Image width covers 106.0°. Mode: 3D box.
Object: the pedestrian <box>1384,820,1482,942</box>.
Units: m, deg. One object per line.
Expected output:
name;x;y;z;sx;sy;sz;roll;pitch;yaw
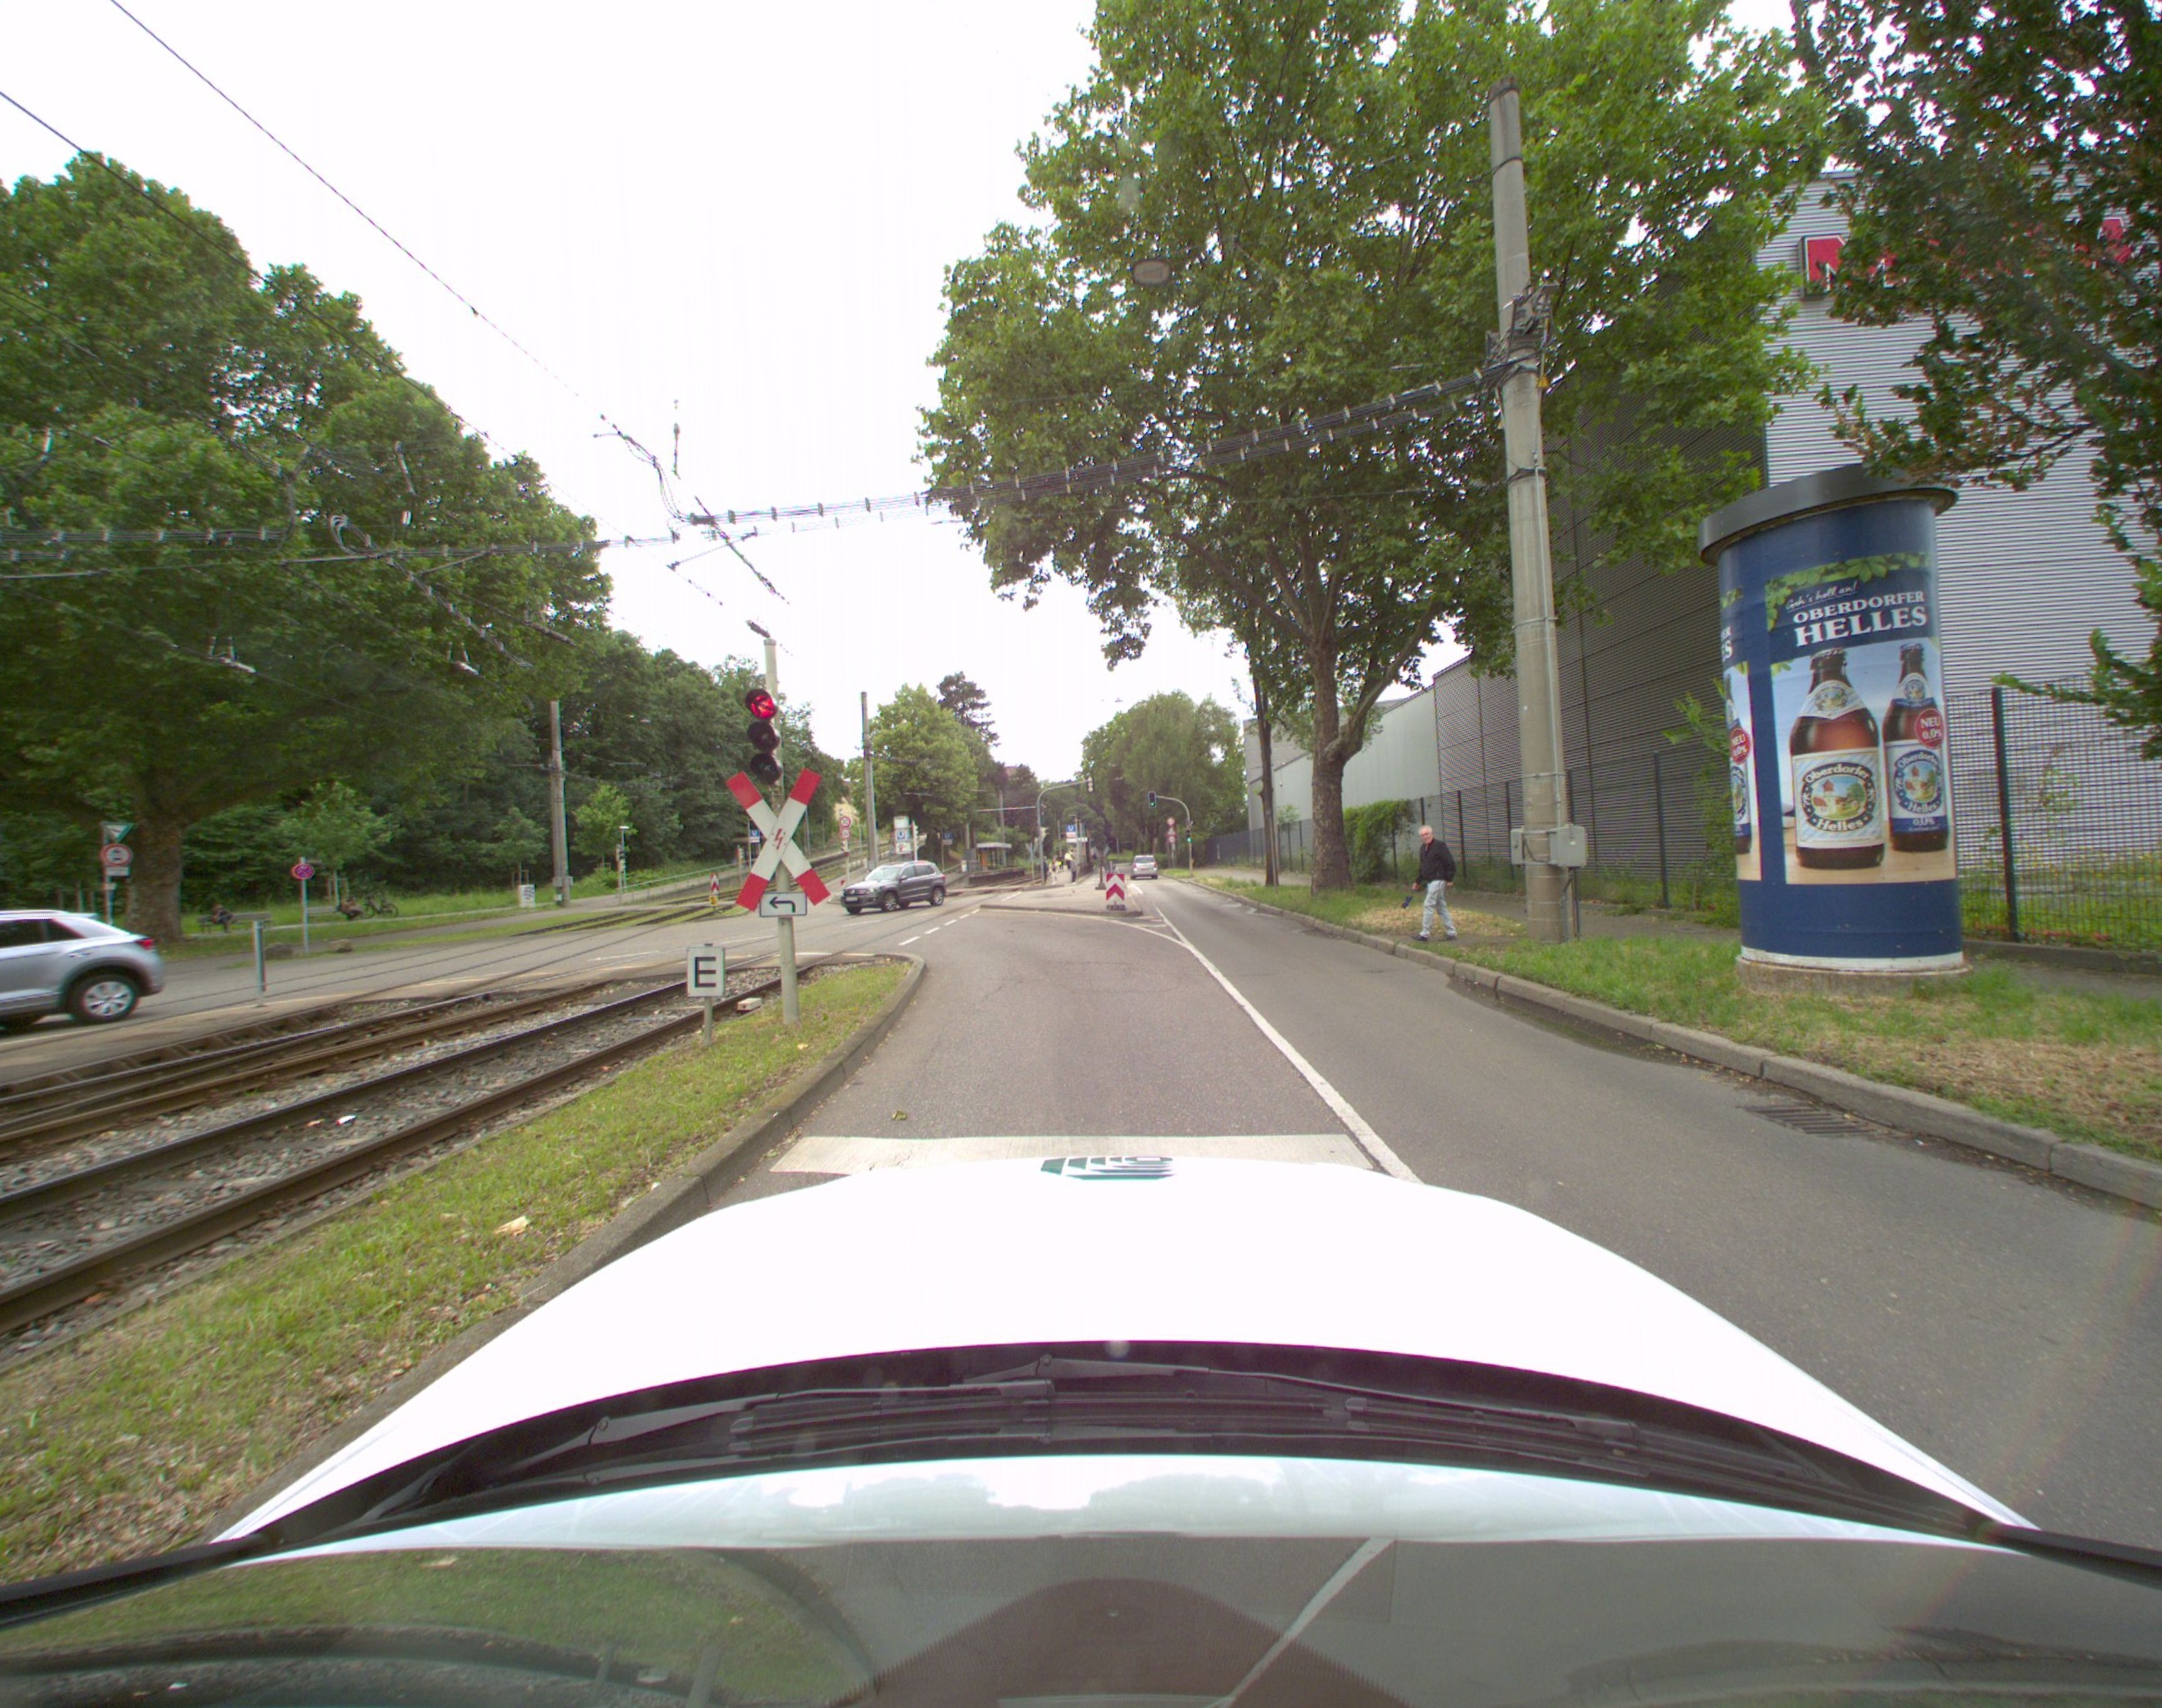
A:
pedestrian;5.418;0.408;12.525;1.126;1.760;0.804;-2;-3;-37

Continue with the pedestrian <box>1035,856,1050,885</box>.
pedestrian;-2.214;0.954;46.762;0.732;1.665;0.682;0;-1;3

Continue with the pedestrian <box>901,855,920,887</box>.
pedestrian;-9.674;0.973;46.211;0.662;1.821;0.810;-1;-1;35

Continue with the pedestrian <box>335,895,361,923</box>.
pedestrian;-33.443;2.507;37.174;0.574;1.235;0.676;-1;-1;15

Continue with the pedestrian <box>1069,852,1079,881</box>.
pedestrian;-0.452;0.778;50.954;0.547;1.758;0.739;0;-1;6

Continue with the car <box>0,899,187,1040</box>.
car;-14.084;1.518;9.652;1.980;1.578;4.192;-3;0;12

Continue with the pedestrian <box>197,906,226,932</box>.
pedestrian;-35.399;2.644;33.157;0.526;0.989;0.623;-1;-1;17

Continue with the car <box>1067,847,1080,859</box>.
car;-1.291;-0.207;140.626;1.986;2.014;4.001;0;-1;2

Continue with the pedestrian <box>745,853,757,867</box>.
pedestrian;-30.591;0.565;75.475;0.771;1.326;0.785;0;2;-6

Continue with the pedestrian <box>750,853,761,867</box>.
pedestrian;-30.689;0.543;76.762;0.771;1.326;0.785;0;-1;-6

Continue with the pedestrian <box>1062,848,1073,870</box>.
pedestrian;-1.045;0.367;60.859;0.735;1.665;0.679;0;-1;-9

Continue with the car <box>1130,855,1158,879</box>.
car;4.286;0.871;55.669;1.737;1.599;4.001;0;-1;2

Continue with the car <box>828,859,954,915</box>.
car;-6.659;1.126;28.942;1.882;1.718;4.162;-5;-2;31

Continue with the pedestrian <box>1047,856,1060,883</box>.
pedestrian;-1.690;0.982;50.650;0.735;1.665;0.680;0;-1;-8

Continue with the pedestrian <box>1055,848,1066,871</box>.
pedestrian;-1.494;0.402;59.920;0.735;1.665;0.679;0;-1;-9

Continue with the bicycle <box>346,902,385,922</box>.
bicycle;-33.547;2.700;38.176;1.726;0.885;0.625;-1;-1;21
